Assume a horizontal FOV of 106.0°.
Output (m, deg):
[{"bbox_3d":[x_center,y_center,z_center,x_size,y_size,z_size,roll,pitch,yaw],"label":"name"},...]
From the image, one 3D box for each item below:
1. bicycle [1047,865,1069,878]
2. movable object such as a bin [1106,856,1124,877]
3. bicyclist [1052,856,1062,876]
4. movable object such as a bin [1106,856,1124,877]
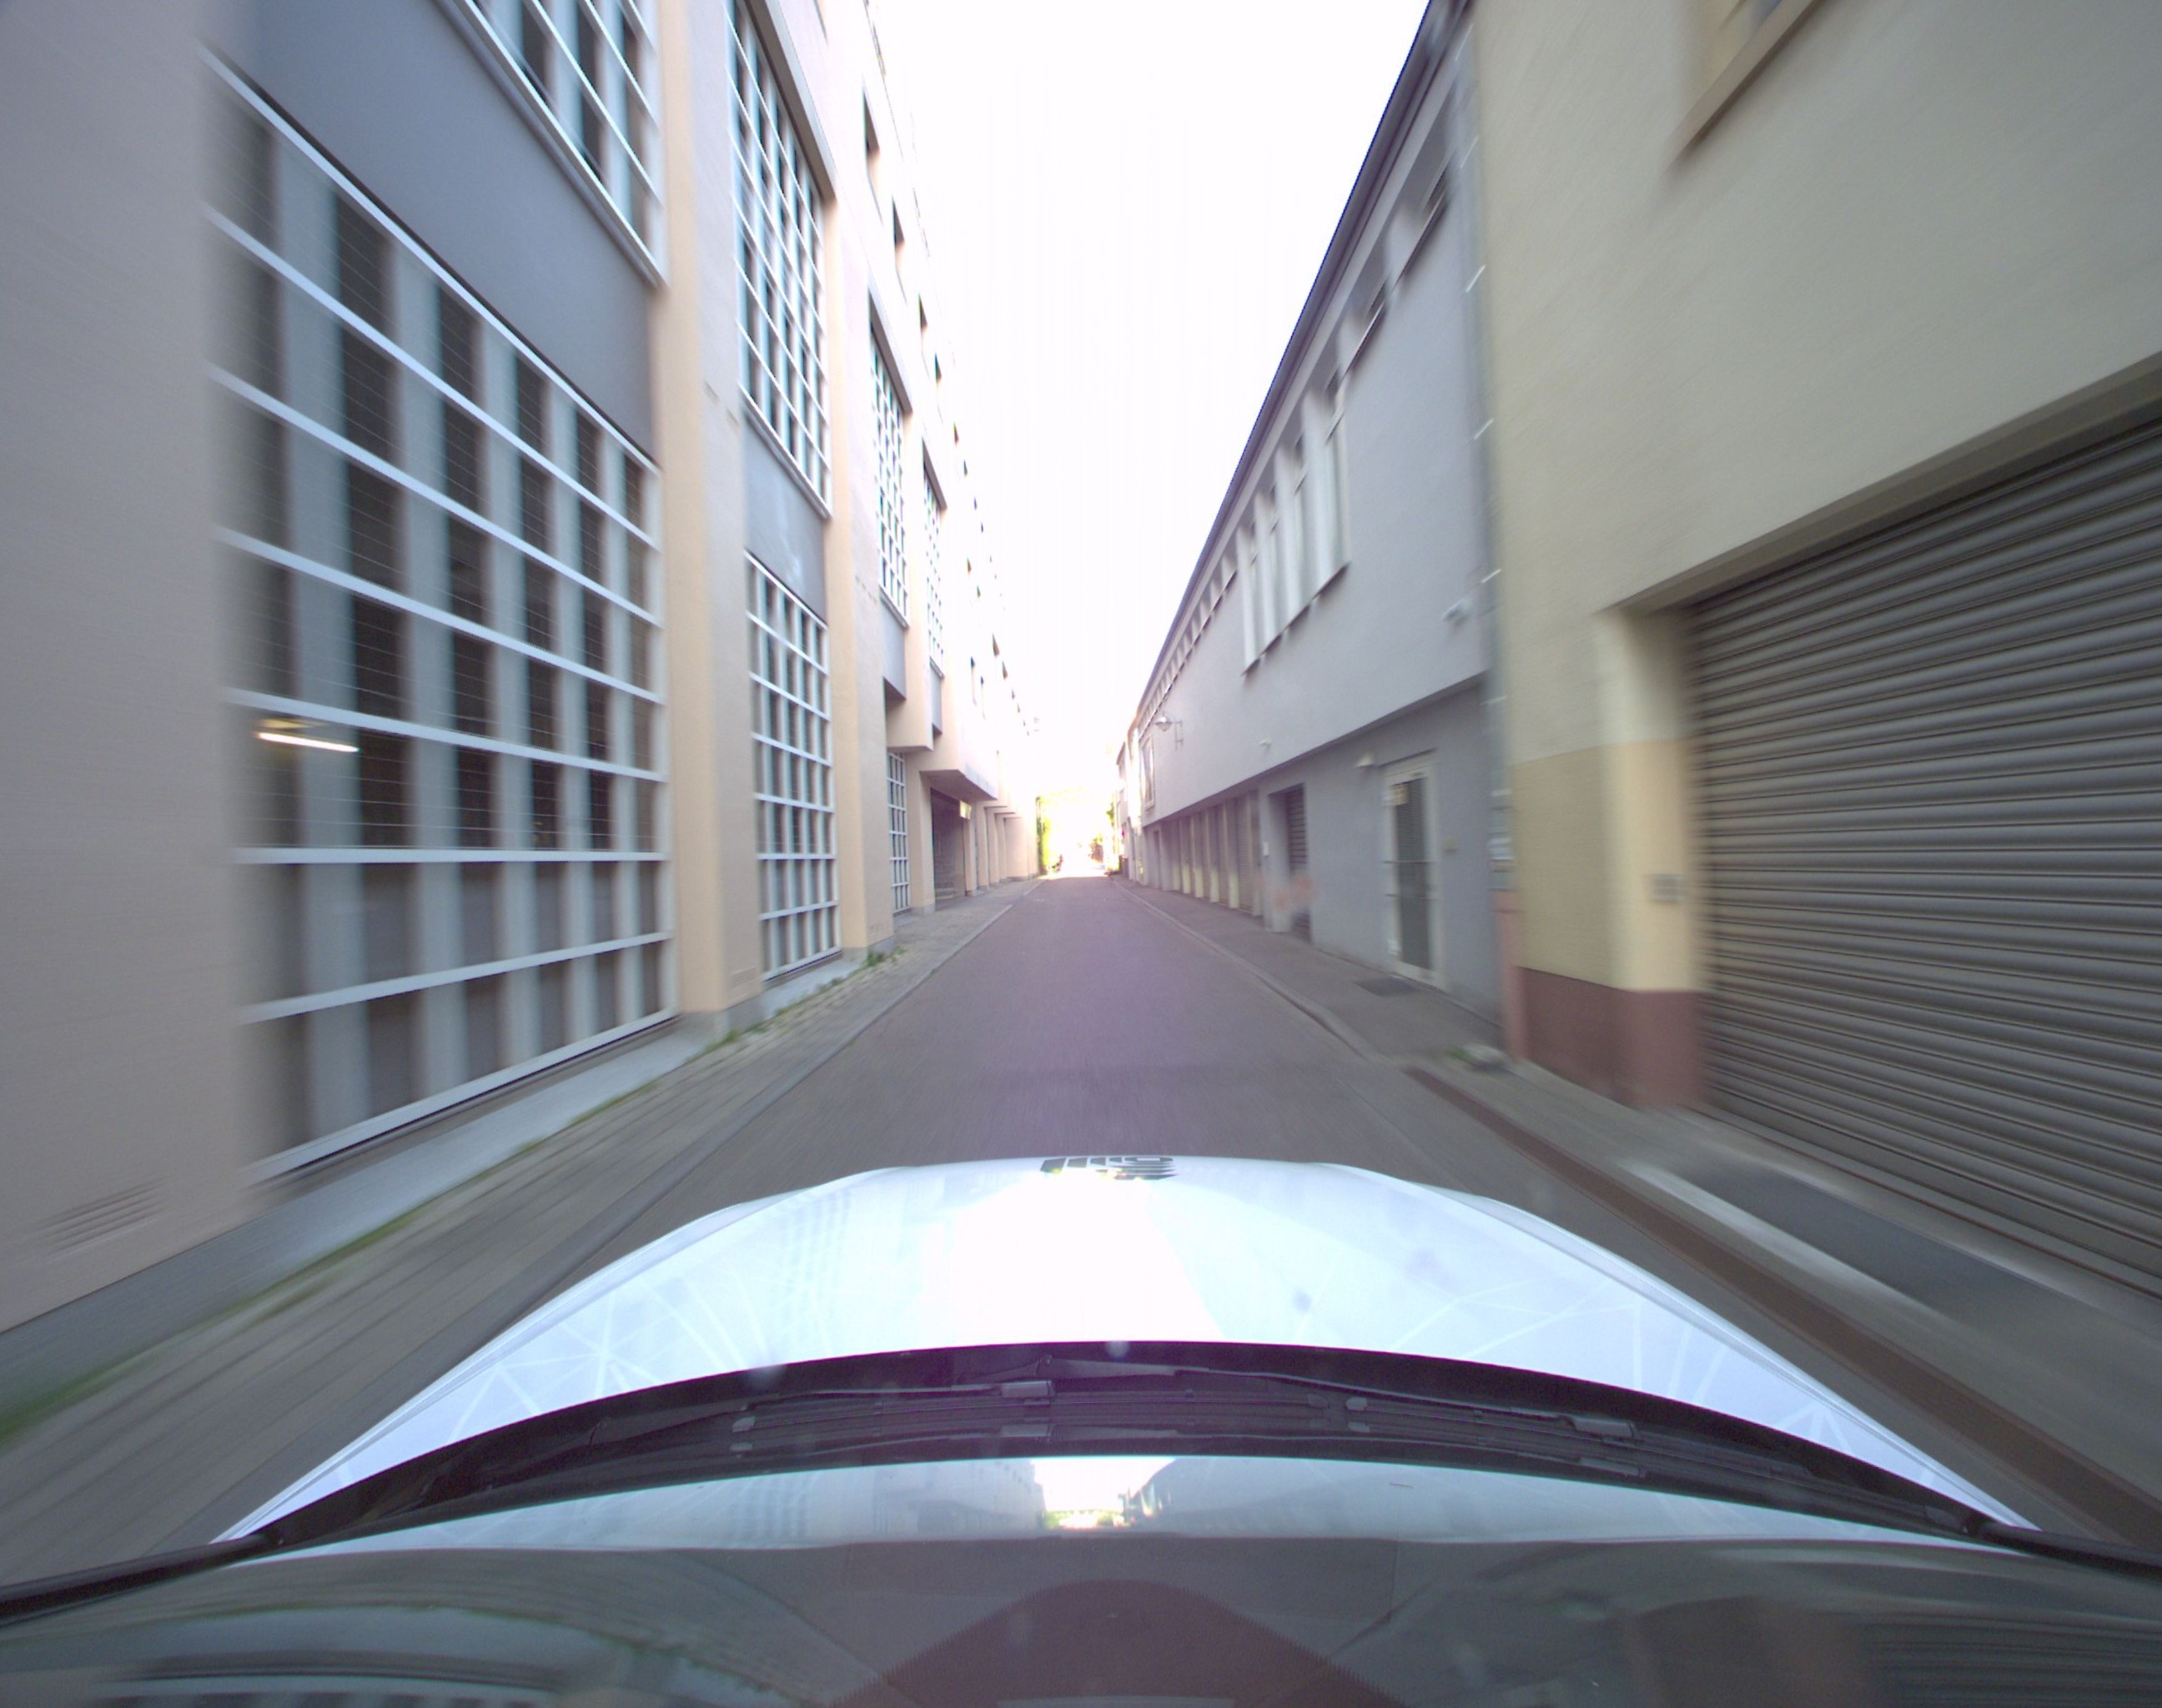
[{"bbox_3d":[-2.147,1.589,74.749,1.981,1.112,0.734,-1,-1,-6],"label":"bicycle"},{"bbox_3d":[2.345,0.873,56.374,1.062,1.366,1.341,-5,-1,-2],"label":"movable object such as a bin"},{"bbox_3d":[-2.216,1.103,74.745,0.878,1.785,0.734,-1,-1,-5],"label":"bicyclist"},{"bbox_3d":[2.315,0.856,54.969,0.936,1.366,1.339,-5,-1,-6],"label":"movable object such as a bin"}]
